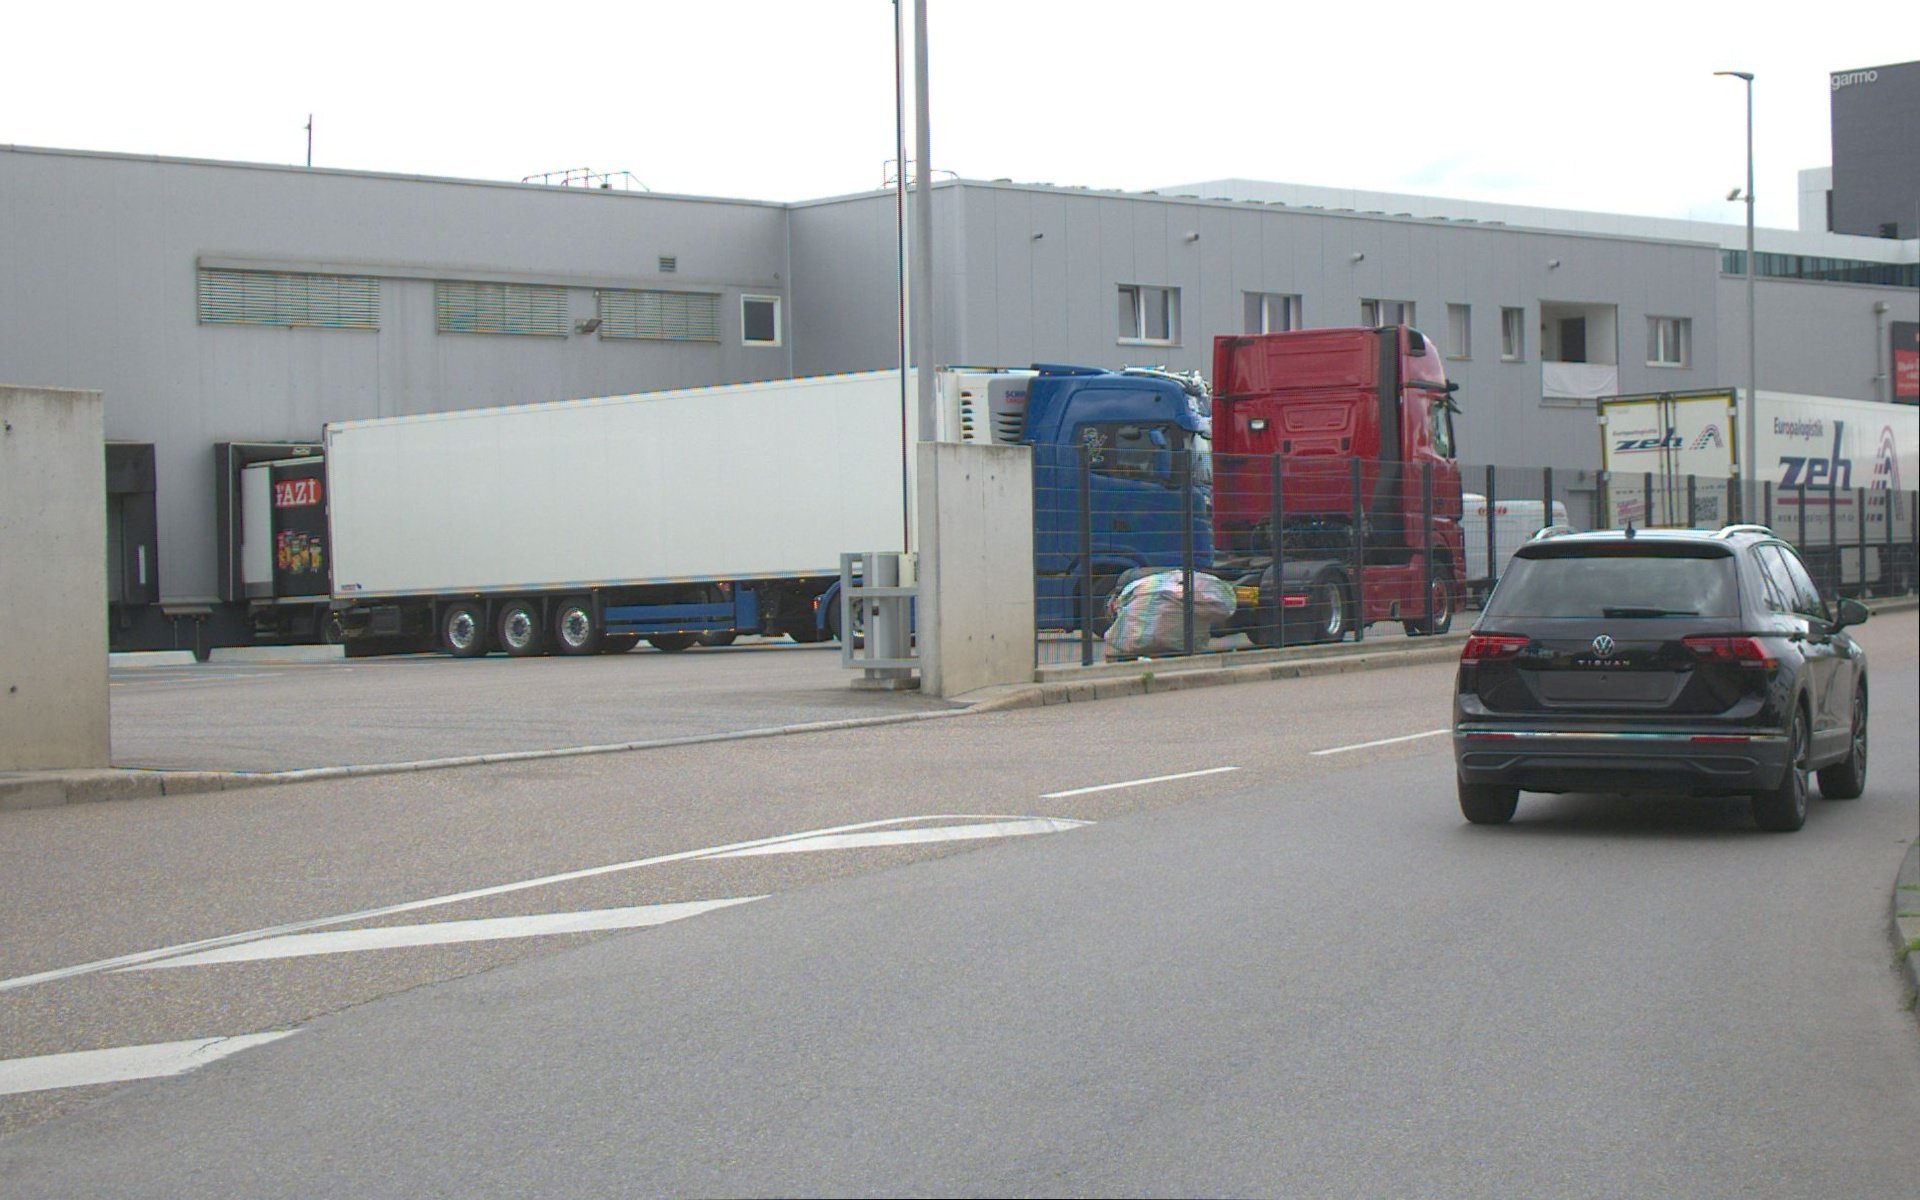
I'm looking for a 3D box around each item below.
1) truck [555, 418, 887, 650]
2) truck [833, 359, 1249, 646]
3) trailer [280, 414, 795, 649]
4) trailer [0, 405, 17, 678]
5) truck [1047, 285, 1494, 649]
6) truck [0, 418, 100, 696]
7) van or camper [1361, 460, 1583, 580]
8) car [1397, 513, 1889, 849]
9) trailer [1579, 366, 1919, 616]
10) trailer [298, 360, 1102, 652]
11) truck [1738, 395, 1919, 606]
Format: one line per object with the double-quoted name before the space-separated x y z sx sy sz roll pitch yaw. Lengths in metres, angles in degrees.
"truck" -4.310 -1.133 61.110 2.794 3.915 5.922 -1 1 -42
"truck" 1.237 -1.380 50.473 5.600 4.007 2.930 0 0 13
"trailer" -8.369 -1.211 65.720 2.776 4.094 13.086 -1 1 -42
"trailer" -18.917 -0.831 54.509 2.785 4.064 10.990 -1 0 -43
"truck" 3.915 -1.498 41.627 2.926 4.007 6.931 0 0 28
"truck" -15.444 -0.594 50.749 2.795 3.915 5.922 -1 0 -43
"van or camper" 12.230 -1.882 82.310 2.098 2.753 4.985 -1 1 -44
"car" 4.004 0.380 19.539 1.996 1.678 4.366 -1 1 21
"trailer" 16.261 -2.030 68.173 3.138 4.247 13.996 -5 -2 29
"trailer" -4.451 -1.342 54.381 14.001 4.169 3.030 0 1 36
"truck" 19.447 -2.076 73.880 3.133 4.103 6.930 -5 -2 30
